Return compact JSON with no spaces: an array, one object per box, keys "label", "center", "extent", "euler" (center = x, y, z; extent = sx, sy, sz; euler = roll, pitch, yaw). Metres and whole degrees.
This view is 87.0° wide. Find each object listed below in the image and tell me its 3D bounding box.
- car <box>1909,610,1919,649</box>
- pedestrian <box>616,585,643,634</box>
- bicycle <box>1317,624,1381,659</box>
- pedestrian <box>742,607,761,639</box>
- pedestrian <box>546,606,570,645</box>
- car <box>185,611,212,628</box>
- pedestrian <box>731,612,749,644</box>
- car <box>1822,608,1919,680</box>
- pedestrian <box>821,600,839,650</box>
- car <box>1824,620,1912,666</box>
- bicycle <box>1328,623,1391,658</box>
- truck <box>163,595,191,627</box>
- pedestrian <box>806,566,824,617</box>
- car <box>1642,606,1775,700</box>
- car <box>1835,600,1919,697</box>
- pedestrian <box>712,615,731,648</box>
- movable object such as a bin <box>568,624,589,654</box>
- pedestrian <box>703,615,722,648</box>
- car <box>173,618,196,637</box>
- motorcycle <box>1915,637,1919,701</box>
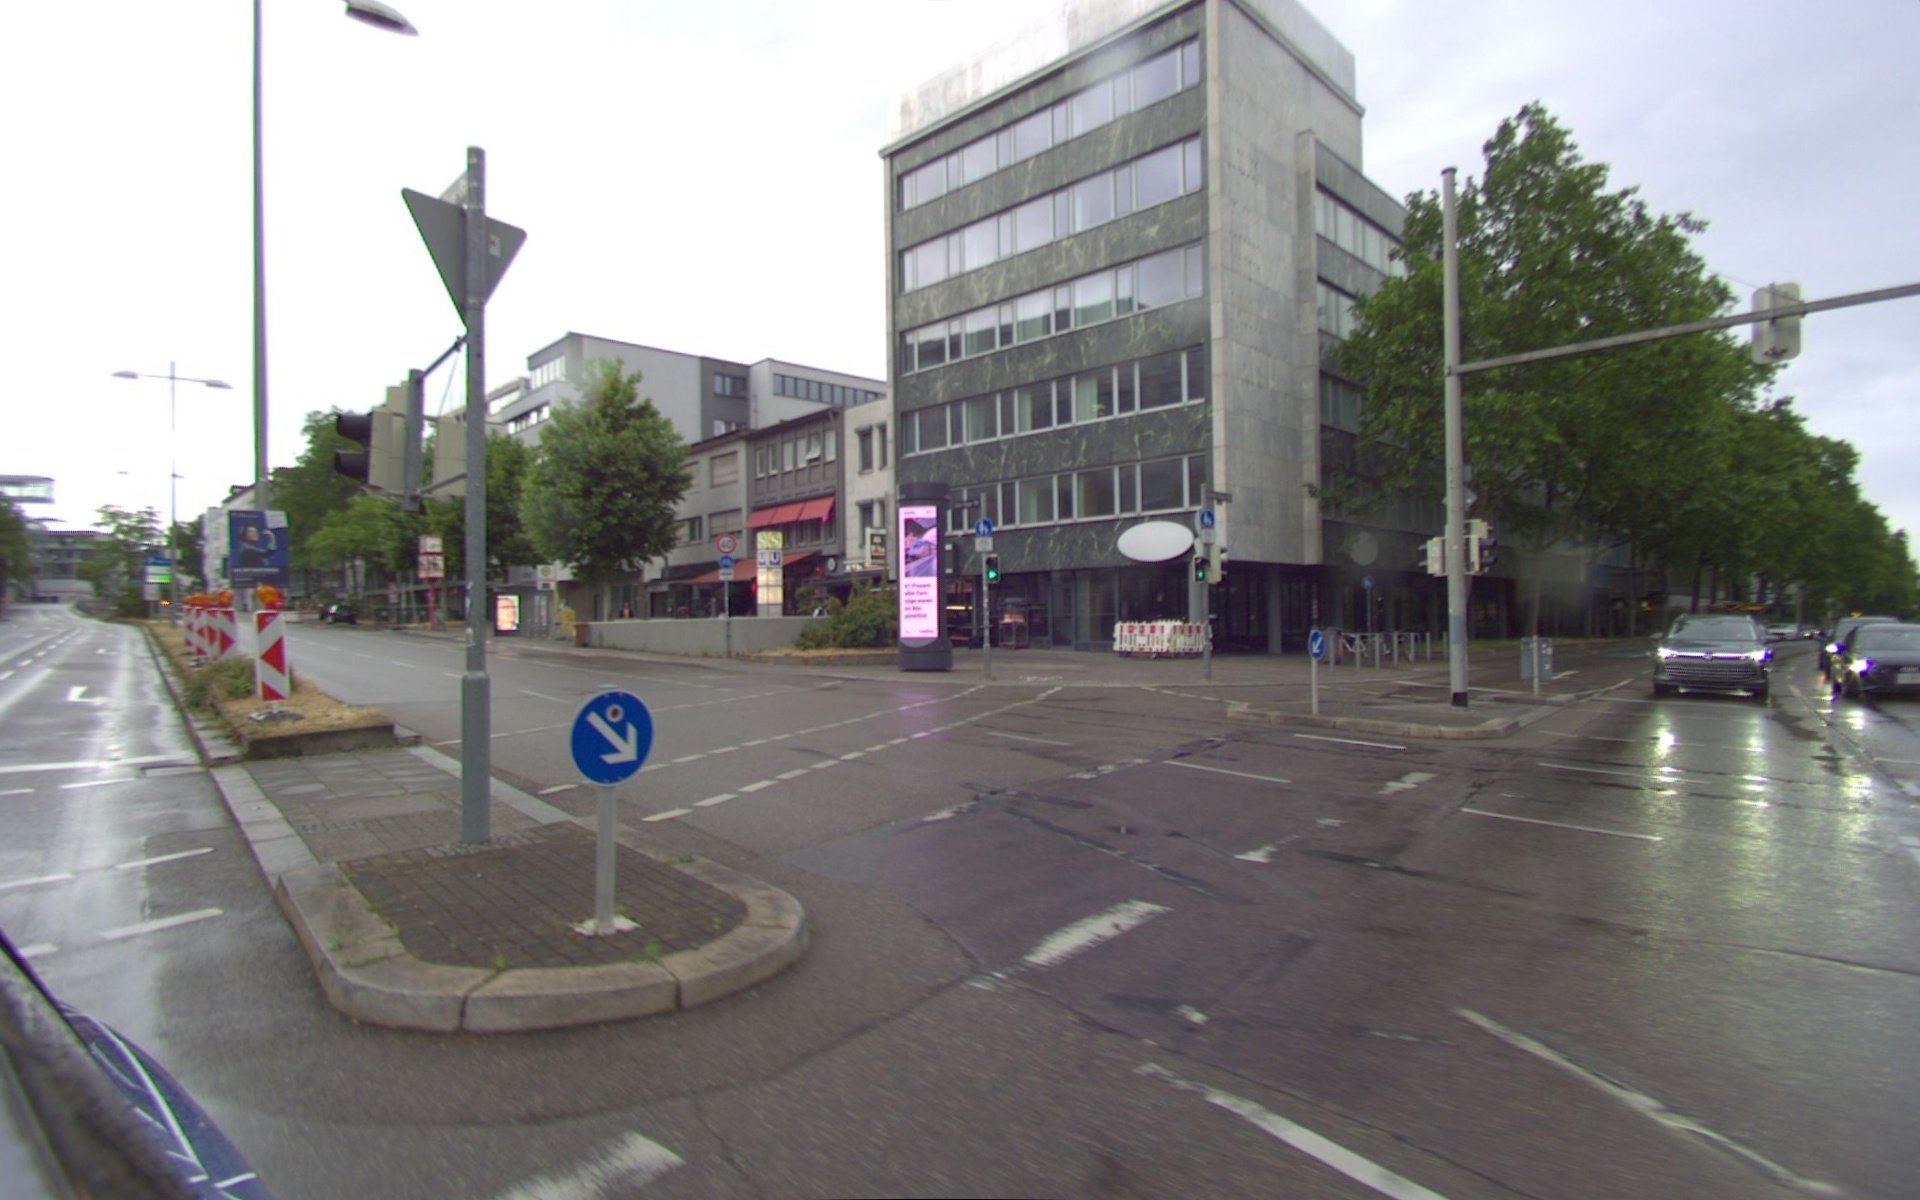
[{"label":"car","center":[36.287,1.083,37.148],"extent":[2.000,1.381,4.118],"euler":[-1,-2,42]},{"label":"pedestrian","center":[-12.732,0.358,38.963],"extent":[0.787,1.837,0.606],"euler":[0,0,22]},{"label":"bicycle","center":[12.039,1.271,31.337],"extent":[0.578,1.060,1.785],"euler":[1,-1,-44]},{"label":"pedestrian","center":[-10.035,1.119,48.731],"extent":[0.659,1.540,0.612],"euler":[1,-2,-37]},{"label":"pedestrian","center":[-21.209,1.343,53.373],"extent":[0.908,2.029,0.946],"euler":[1,-1,-40]},{"label":"car","center":[-92.909,2.335,123.484],"extent":[1.971,1.942,4.968],"euler":[2,-1,-45]},{"label":"pedestrian","center":[-10.693,1.373,49.234],"extent":[0.659,1.540,0.612],"euler":[1,-1,-36]},{"label":"car","center":[24.755,1.135,27.268],"extent":[4.113,1.781,1.863],"euler":[1,-2,-43]},{"label":"pedestrian","center":[-5.319,1.008,41.352],"extent":[0.588,2.029,0.730],"euler":[1,-1,-20]},{"label":"car","center":[29.186,1.328,32.560],"extent":[2.000,1.381,4.118],"euler":[-1,-2,42]},{"label":"bicycle","center":[12.675,1.265,32.149],"extent":[0.578,1.060,1.785],"euler":[1,-1,-44]},{"label":"truck","center":[-90.128,1.275,116.445],"extent":[1.969,3.605,7.583],"euler":[1,-1,-42]},{"label":"pedestrian","center":[-5.904,-0.341,41.161],"extent":[0.588,2.029,0.730],"euler":[1,-1,-20]},{"label":"car","center":[15.382,1.014,20.714],"extent":[1.998,1.699,4.309],"euler":[-1,-1,39]},{"label":"car","center":[18.764,0.923,20.042],"extent":[2.000,1.763,3.943],"euler":[-1,-2,43]},{"label":"pedestrian","center":[-11.182,1.470,47.436],"extent":[0.659,1.540,0.612],"euler":[1,-2,-37]},{"label":"movable object such as a bin","center":[-14.223,1.443,37.732],"extent":[0.499,1.109,0.662],"euler":[1,-1,-42]},{"label":"pedestrian","center":[-11.802,1.499,48.285],"extent":[0.659,1.540,0.612],"euler":[1,-2,-37]},{"label":"car","center":[-86.820,3.026,113.277],"extent":[1.968,2.029,4.008],"euler":[1,-1,-38]},{"label":"motorcycle","center":[16.018,1.151,15.991],"extent":[0.831,1.062,2.342],"euler":[0,0,30]}]
